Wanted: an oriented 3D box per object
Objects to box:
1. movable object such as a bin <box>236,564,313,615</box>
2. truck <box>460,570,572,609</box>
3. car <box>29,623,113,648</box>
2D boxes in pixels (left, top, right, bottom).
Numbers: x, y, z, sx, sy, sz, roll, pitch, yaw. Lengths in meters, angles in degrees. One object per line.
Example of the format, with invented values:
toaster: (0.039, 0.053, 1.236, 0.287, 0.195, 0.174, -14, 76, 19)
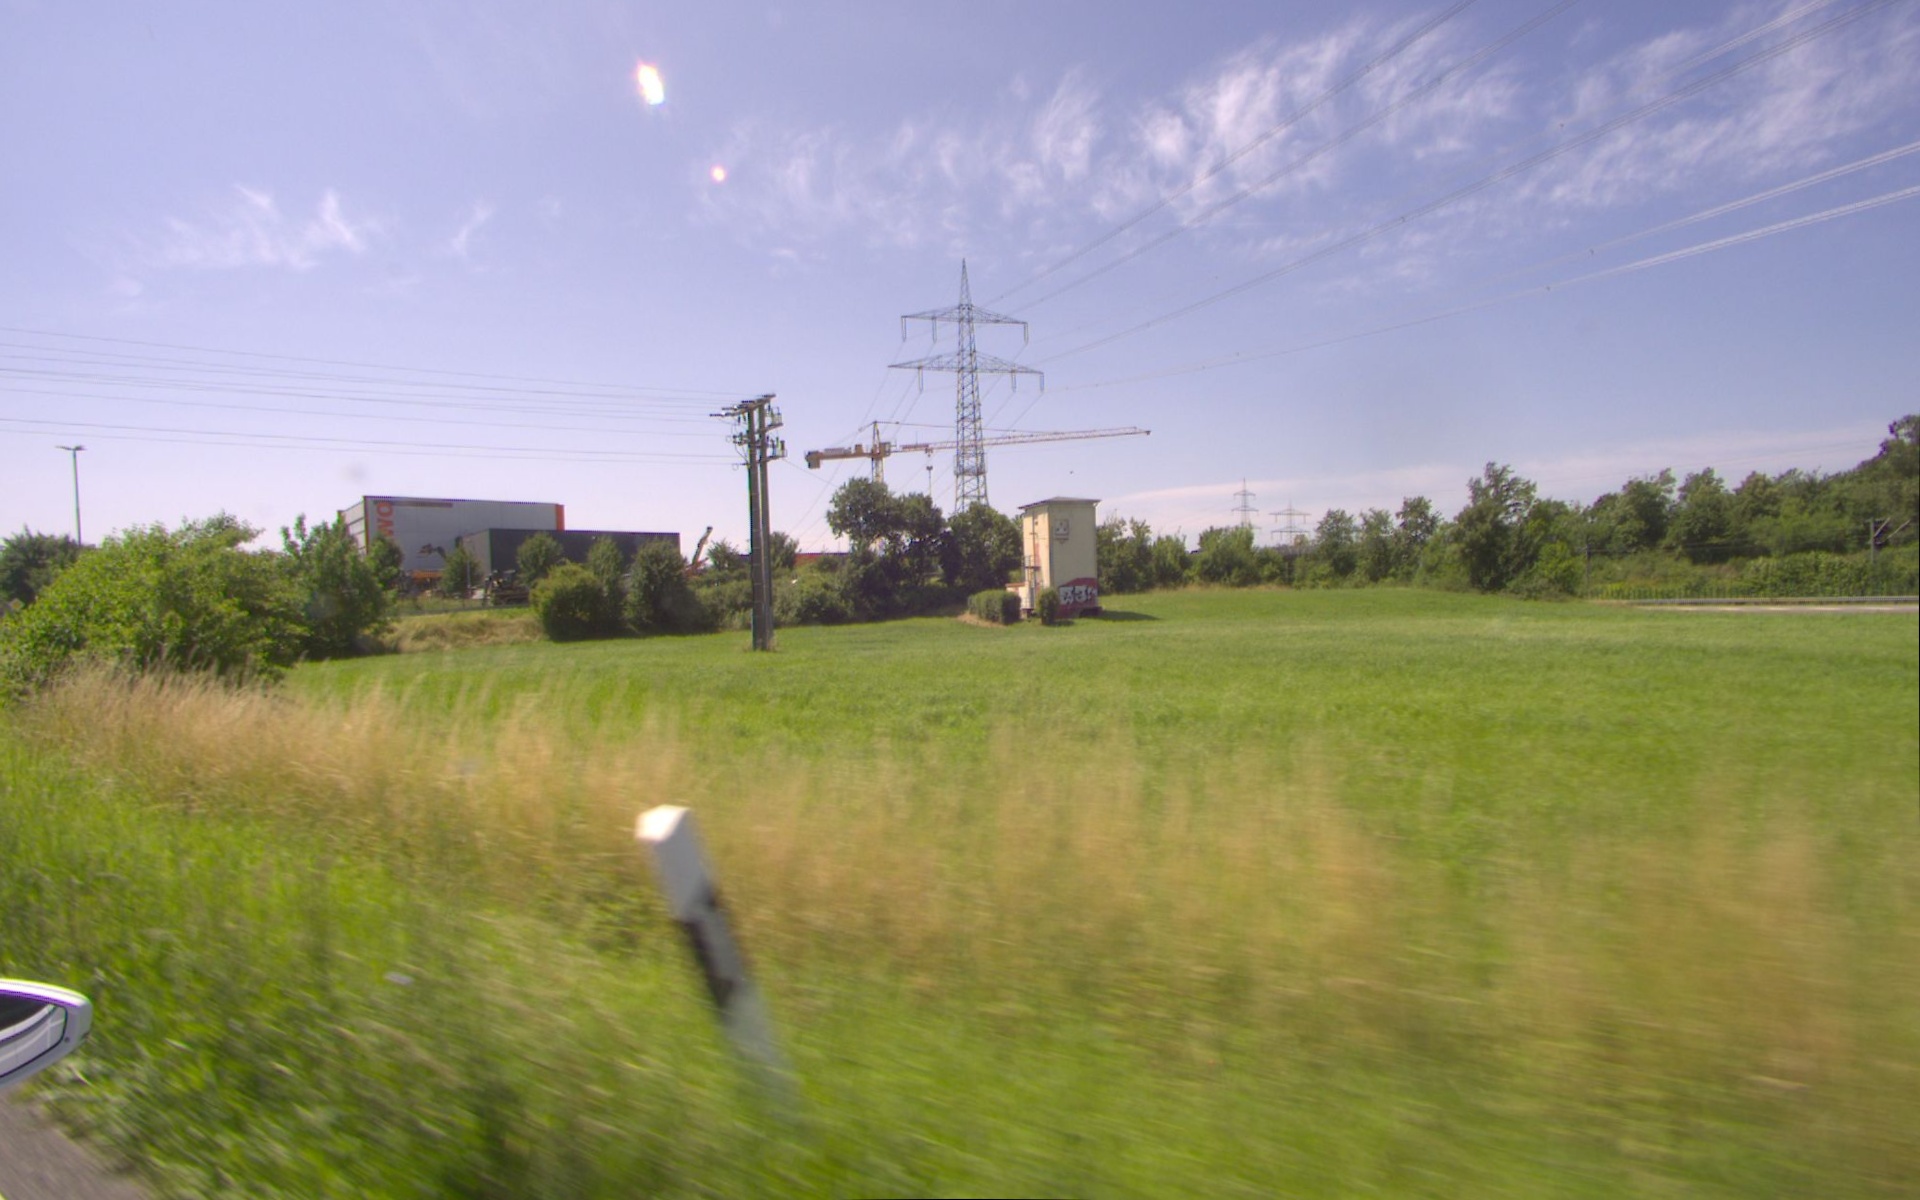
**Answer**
movable object such as a bin: (-74.776, -1.093, 109.202, 6.541, 5.212, 3.775, 0, -2, -41)
truck: (-39.507, -0.861, 89.487, 3.070, 3.176, 8.744, -3, -2, 37)
car: (-64.970, 2.536, 73.262, 4.479, 1.528, 1.896, -3, 2, -43)
